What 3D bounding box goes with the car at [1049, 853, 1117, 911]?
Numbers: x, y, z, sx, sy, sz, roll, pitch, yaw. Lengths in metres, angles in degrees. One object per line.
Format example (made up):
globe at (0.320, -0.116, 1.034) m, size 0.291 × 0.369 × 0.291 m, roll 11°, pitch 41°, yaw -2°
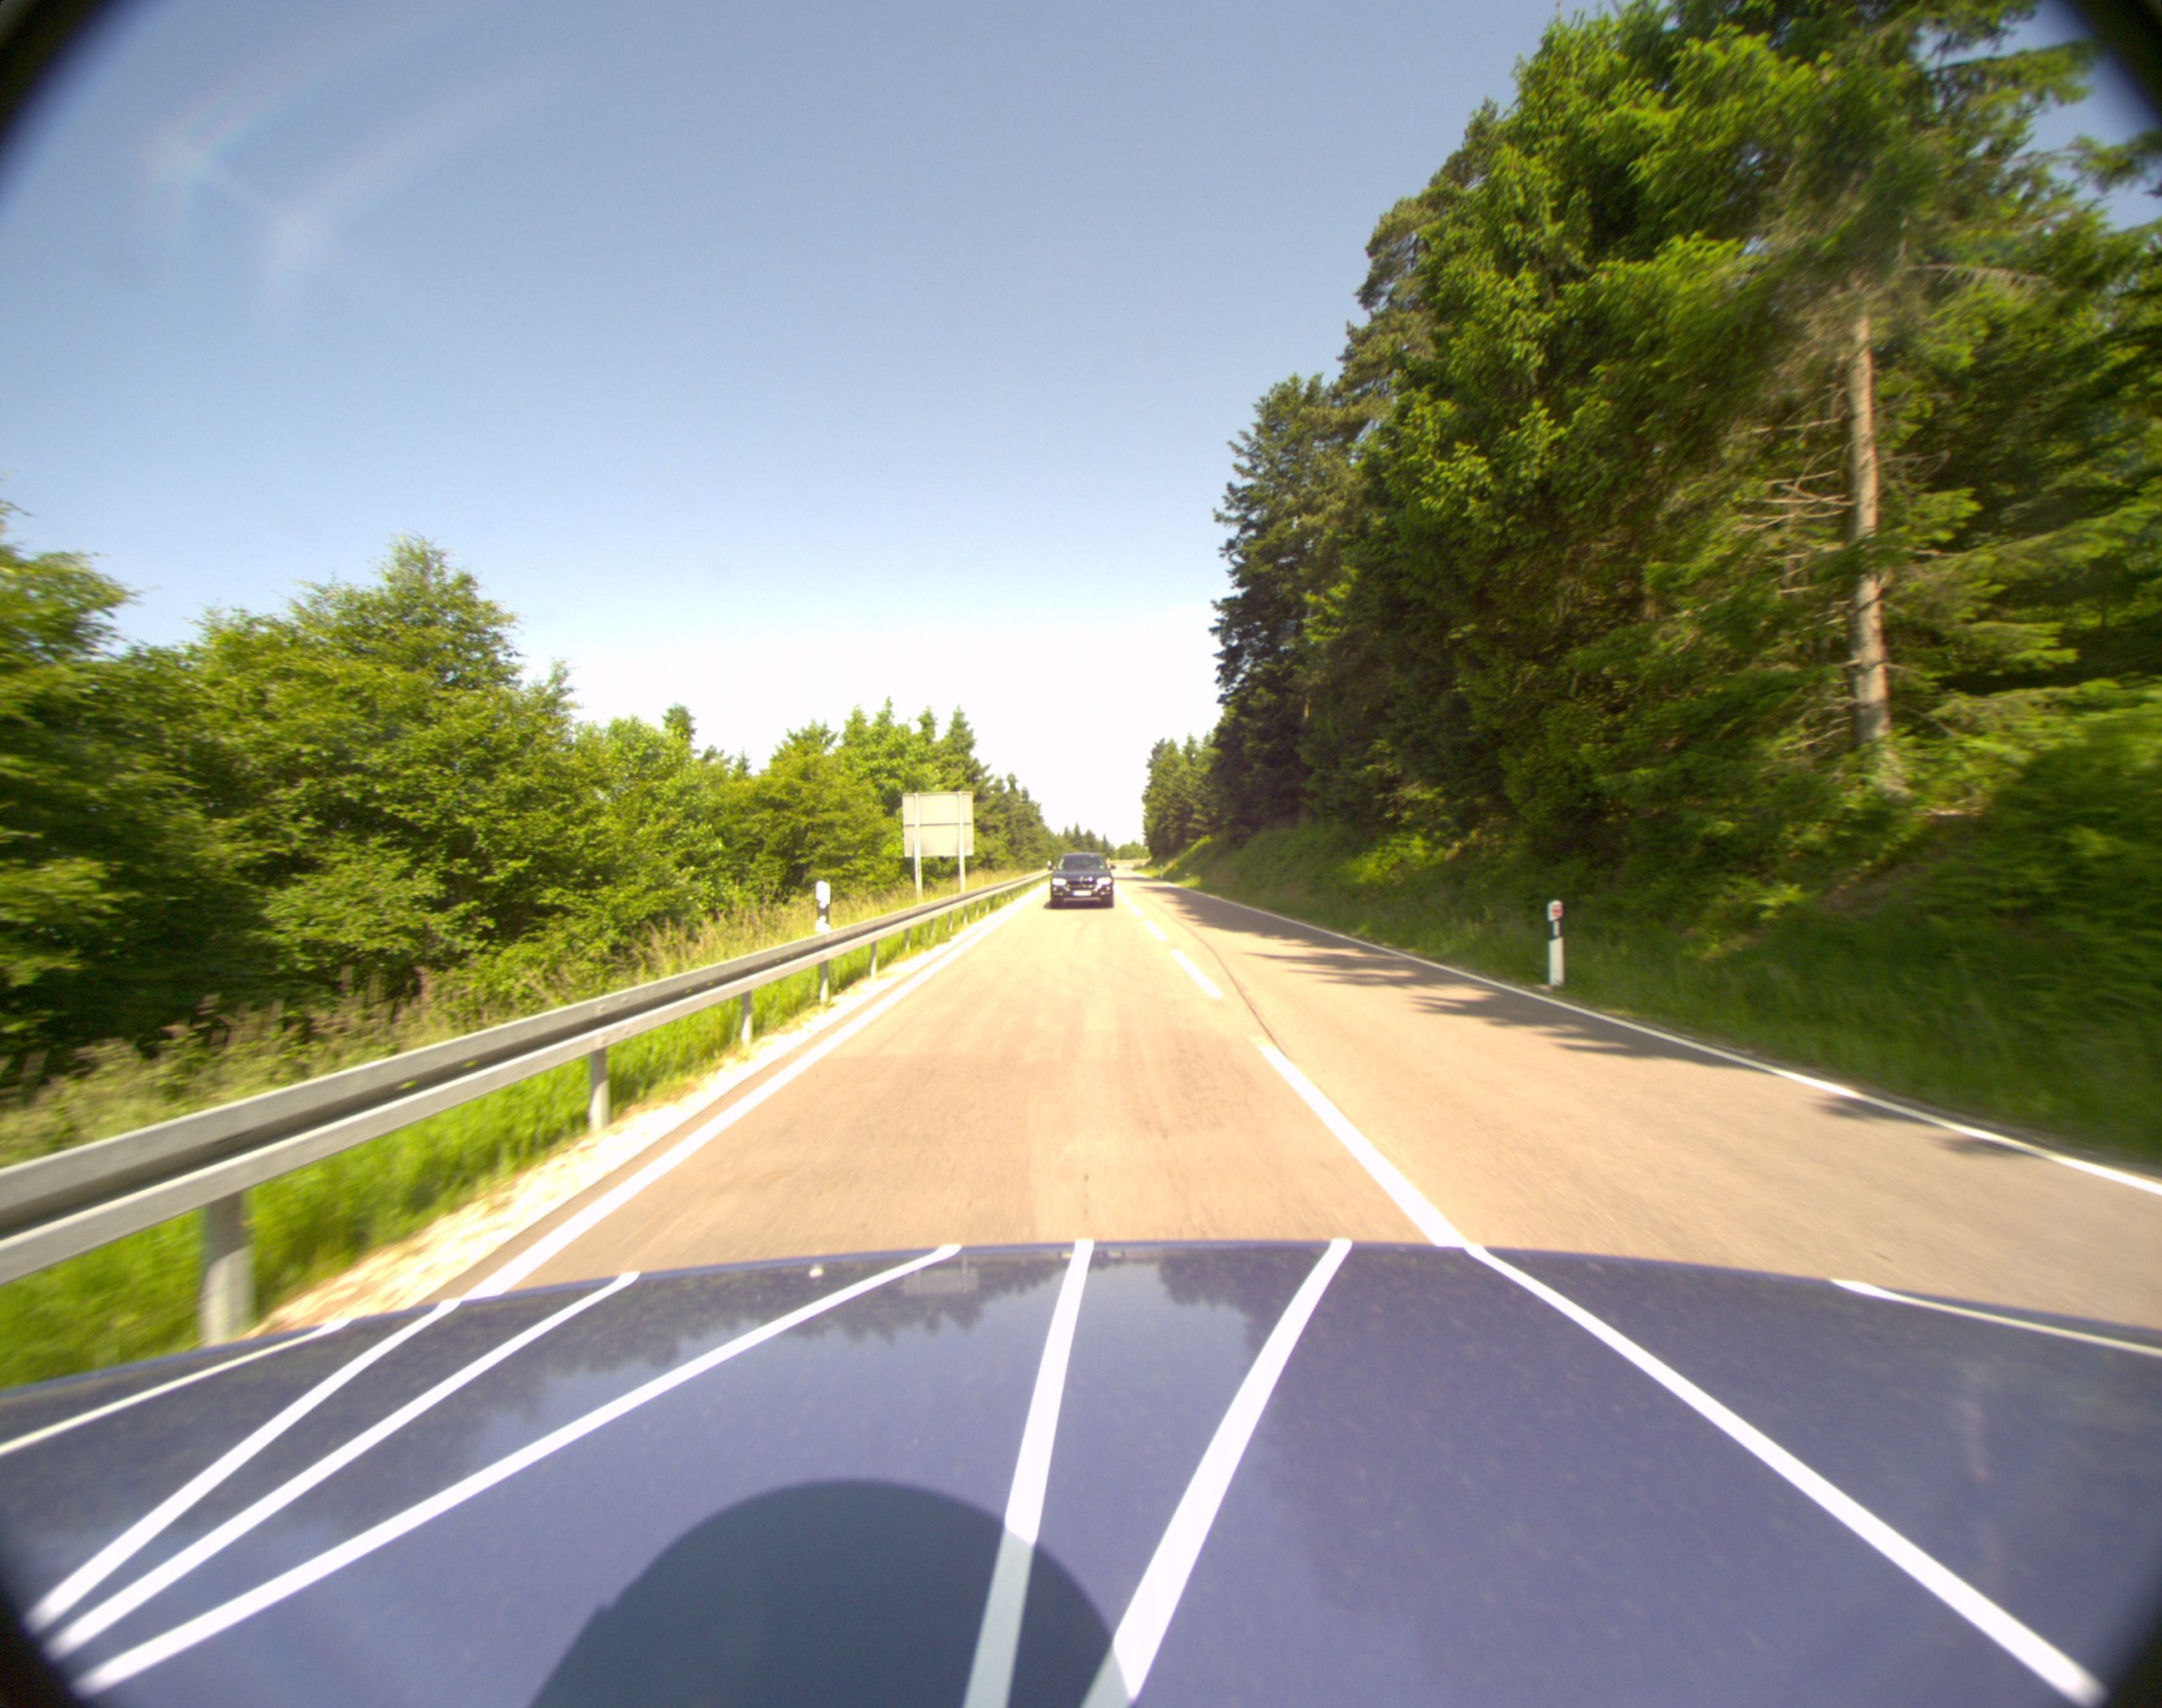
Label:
car at (0.000, 0.846, 25.319) m, size 1.999 × 1.676 × 5.936 m, roll -1°, pitch -1°, yaw -1°
